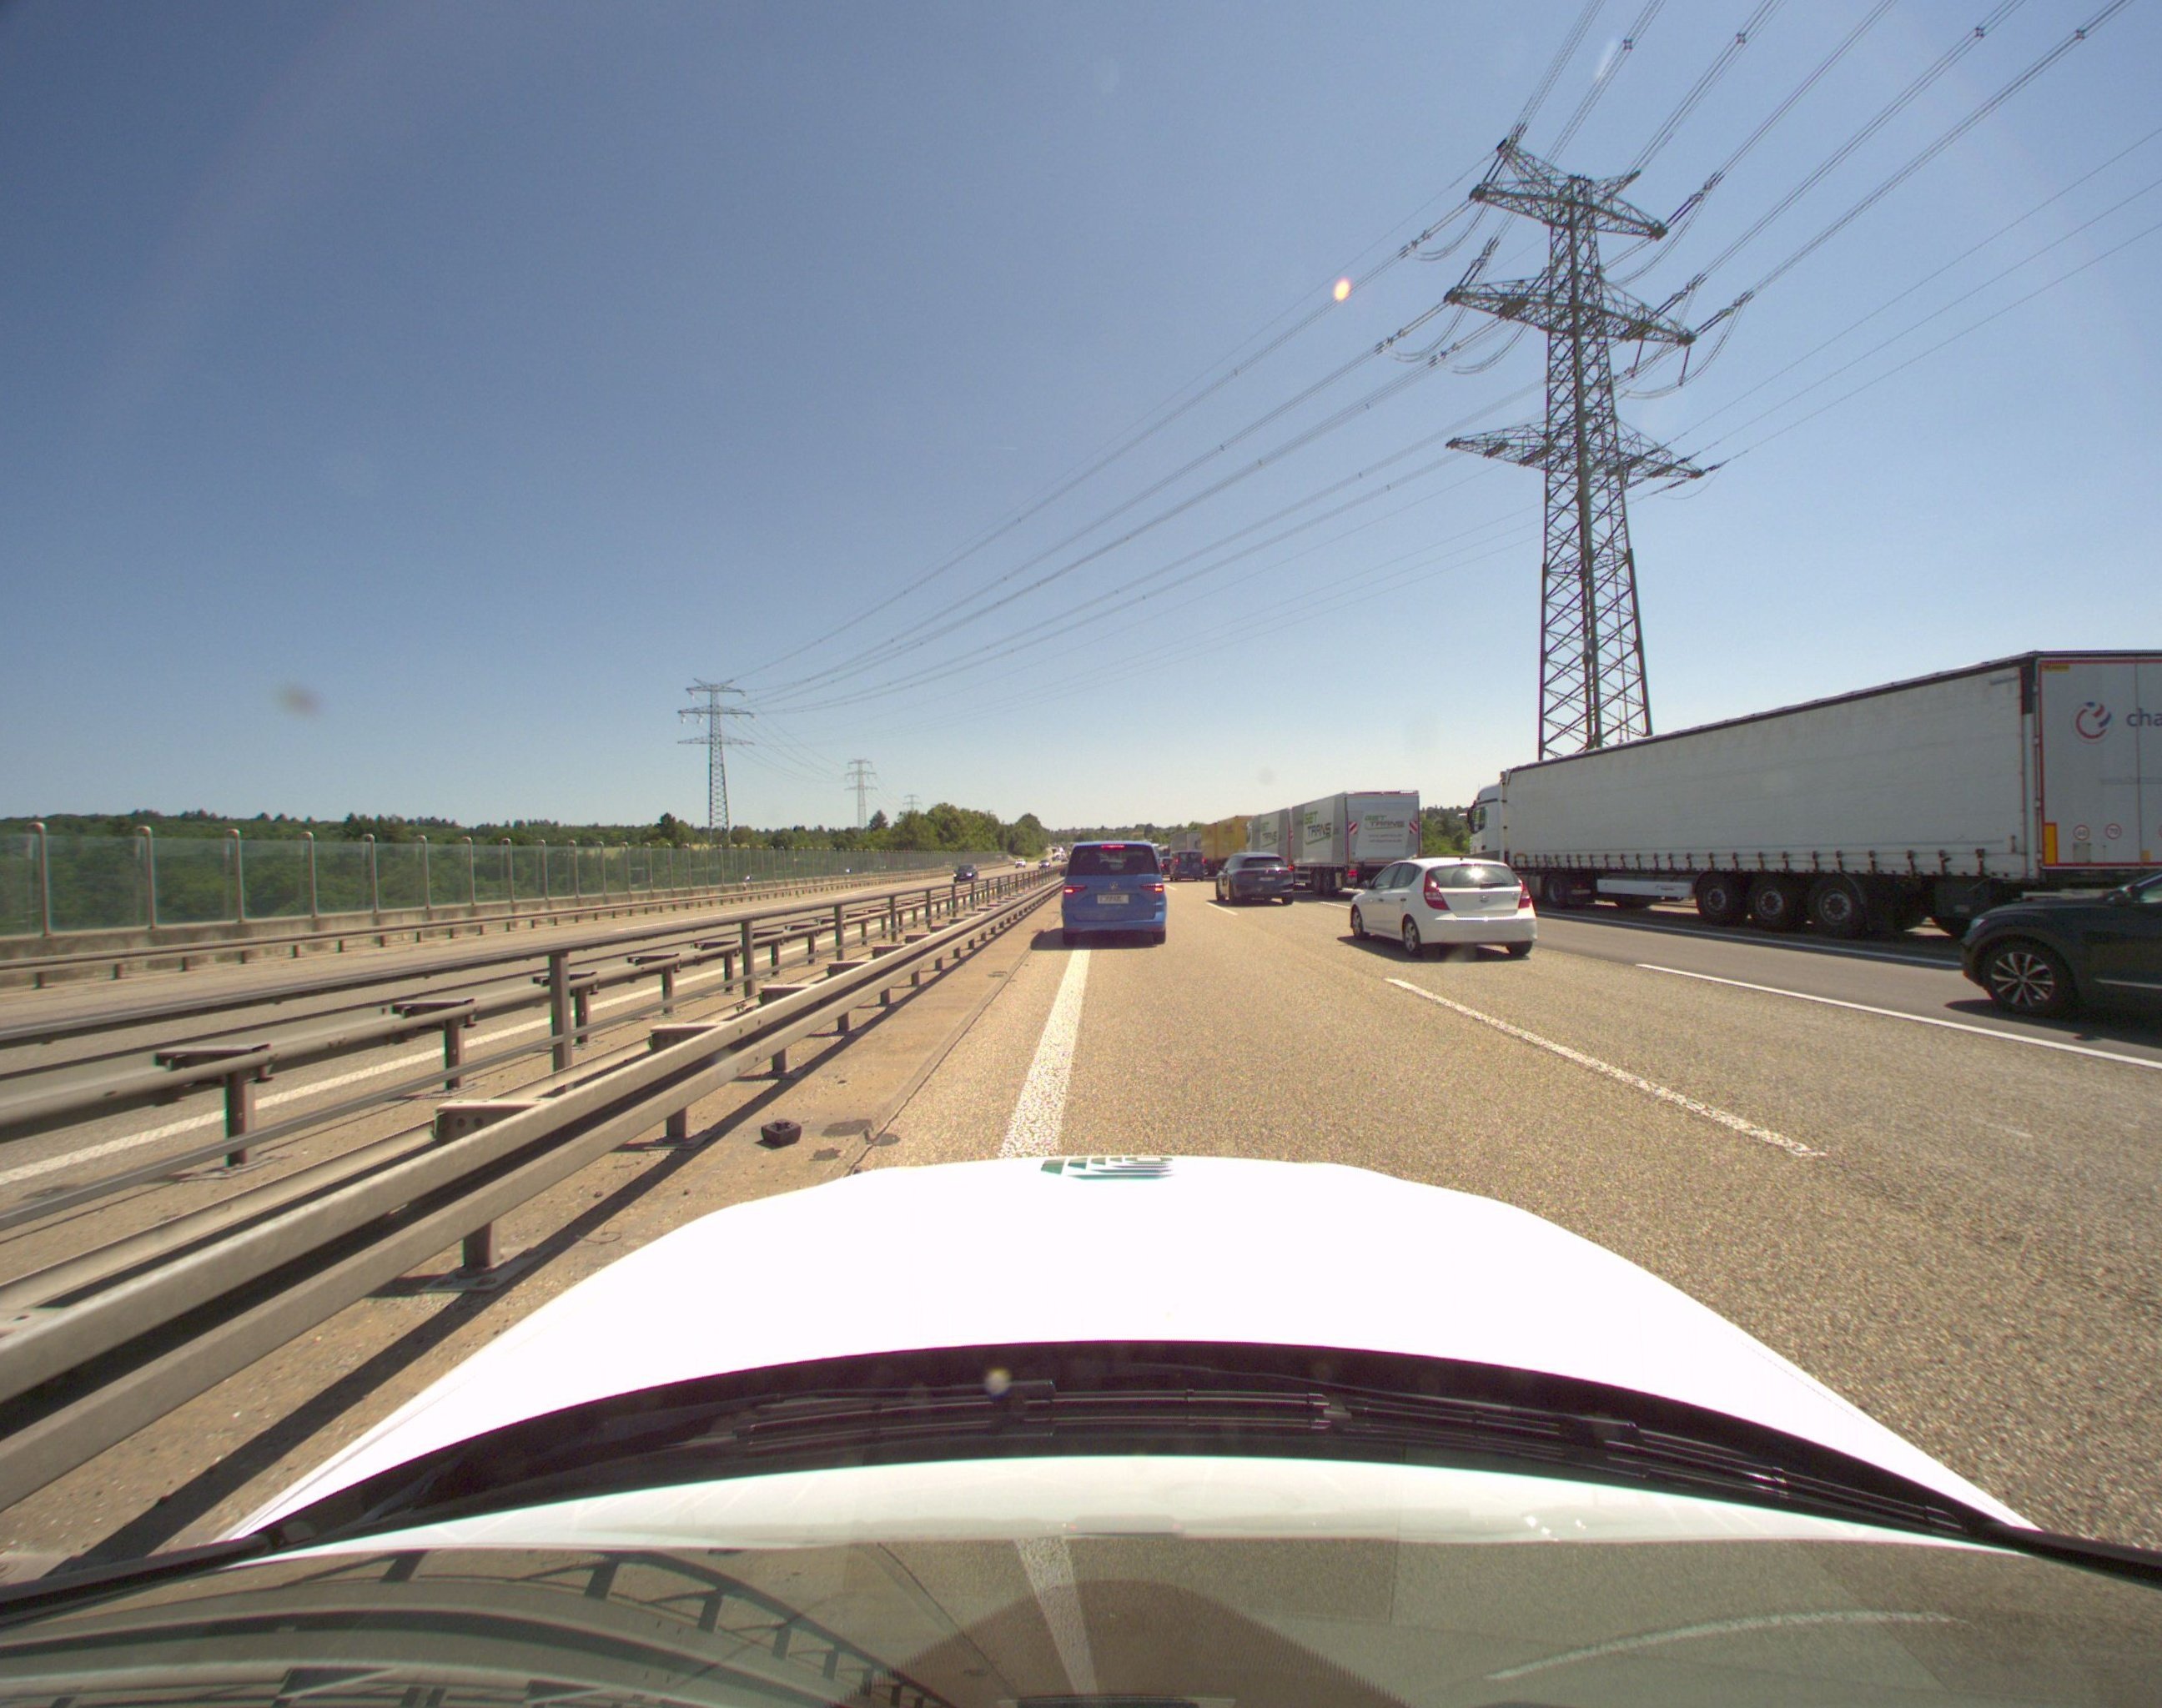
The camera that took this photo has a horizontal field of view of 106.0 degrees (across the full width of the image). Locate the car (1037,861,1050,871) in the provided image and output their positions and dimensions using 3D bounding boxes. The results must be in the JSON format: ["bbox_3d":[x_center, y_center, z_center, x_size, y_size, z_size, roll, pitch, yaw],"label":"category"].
[{"bbox_3d":[-6.213,1.987,135.243,1.799,1.627,4.479,-1,0,1],"label":"car"}]

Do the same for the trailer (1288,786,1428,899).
[{"bbox_3d":[10.203,-0.374,31.031,2.688,3.700,8.016,-1,0,1],"label":"trailer"}]

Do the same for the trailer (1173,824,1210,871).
[{"bbox_3d":[11.290,-0.605,84.179,2.627,4.516,11.304,-1,0,2],"label":"trailer"}]

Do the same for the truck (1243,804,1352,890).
[{"bbox_3d":[10.419,-0.268,40.556,2.647,3.648,11.012,-1,0,1],"label":"truck"}]

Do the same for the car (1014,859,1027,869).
[{"bbox_3d":[-12.507,2.034,168.839,1.986,1.885,5.257,-2,0,1],"label":"car"}]

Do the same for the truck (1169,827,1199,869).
[{"bbox_3d":[11.463,-0.611,91.311,2.657,4.484,6.852,-1,-1,2],"label":"truck"}]

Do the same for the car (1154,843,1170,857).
[{"bbox_3d":[11.964,-0.572,120.248,1.986,2.013,4.462,-2,0,2],"label":"car"}]

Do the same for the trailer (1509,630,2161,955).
[{"bbox_3d":[13.754,-0.749,17.131,2.705,4.142,13.428,-1,0,2],"label":"trailer"}]

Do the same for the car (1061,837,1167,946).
[{"bbox_3d":[0.639,0.664,16.121,1.813,1.857,4.076,-1,-1,2],"label":"car"}]

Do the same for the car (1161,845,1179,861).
[{"bbox_3d":[11.158,-0.122,102.413,1.986,2.014,4.001,-1,-1,2],"label":"car"}]

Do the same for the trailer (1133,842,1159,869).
[{"bbox_3d":[7.615,0.224,95.994,2.560,2.990,10.666,-1,-1,2],"label":"trailer"}]

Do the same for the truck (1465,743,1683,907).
[{"bbox_3d":[13.937,-0.696,23.716,2.683,4.142,6.161,-1,-1,1],"label":"truck"}]

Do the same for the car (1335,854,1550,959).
[{"bbox_3d":[5.805,0.759,13.712,1.782,1.455,4.294,-1,0,1],"label":"car"}]

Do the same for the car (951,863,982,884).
[{"bbox_3d":[-10.076,1.731,72.080,1.987,1.672,4.186,-4,-1,1],"label":"car"}]

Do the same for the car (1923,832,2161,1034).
[{"bbox_3d":[9.019,0.590,5.867,1.729,1.527,4.108,-1,-1,2],"label":"car"}]

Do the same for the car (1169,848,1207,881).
[{"bbox_3d":[6.815,0.655,52.344,1.955,1.993,4.294,-1,0,1],"label":"car"}]

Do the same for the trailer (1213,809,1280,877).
[{"bbox_3d":[10.989,-0.633,54.977,2.854,4.239,9.014,-1,-1,1],"label":"trailer"}]

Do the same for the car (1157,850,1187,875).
[{"bbox_3d":[6.976,0.666,62.963,1.986,1.816,4.001,-1,0,2],"label":"car"}]

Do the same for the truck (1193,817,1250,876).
[{"bbox_3d":[11.019,-0.495,65.032,2.826,4.243,11.012,-1,-1,1],"label":"truck"}]

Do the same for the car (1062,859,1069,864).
[{"bbox_3d":[-4.211,2.027,220.102,1.592,1.318,4.342,-4,0,1],"label":"car"}]

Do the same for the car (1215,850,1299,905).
[{"bbox_3d":[5.794,0.748,27.304,1.955,1.645,4.294,-1,0,1],"label":"car"}]
